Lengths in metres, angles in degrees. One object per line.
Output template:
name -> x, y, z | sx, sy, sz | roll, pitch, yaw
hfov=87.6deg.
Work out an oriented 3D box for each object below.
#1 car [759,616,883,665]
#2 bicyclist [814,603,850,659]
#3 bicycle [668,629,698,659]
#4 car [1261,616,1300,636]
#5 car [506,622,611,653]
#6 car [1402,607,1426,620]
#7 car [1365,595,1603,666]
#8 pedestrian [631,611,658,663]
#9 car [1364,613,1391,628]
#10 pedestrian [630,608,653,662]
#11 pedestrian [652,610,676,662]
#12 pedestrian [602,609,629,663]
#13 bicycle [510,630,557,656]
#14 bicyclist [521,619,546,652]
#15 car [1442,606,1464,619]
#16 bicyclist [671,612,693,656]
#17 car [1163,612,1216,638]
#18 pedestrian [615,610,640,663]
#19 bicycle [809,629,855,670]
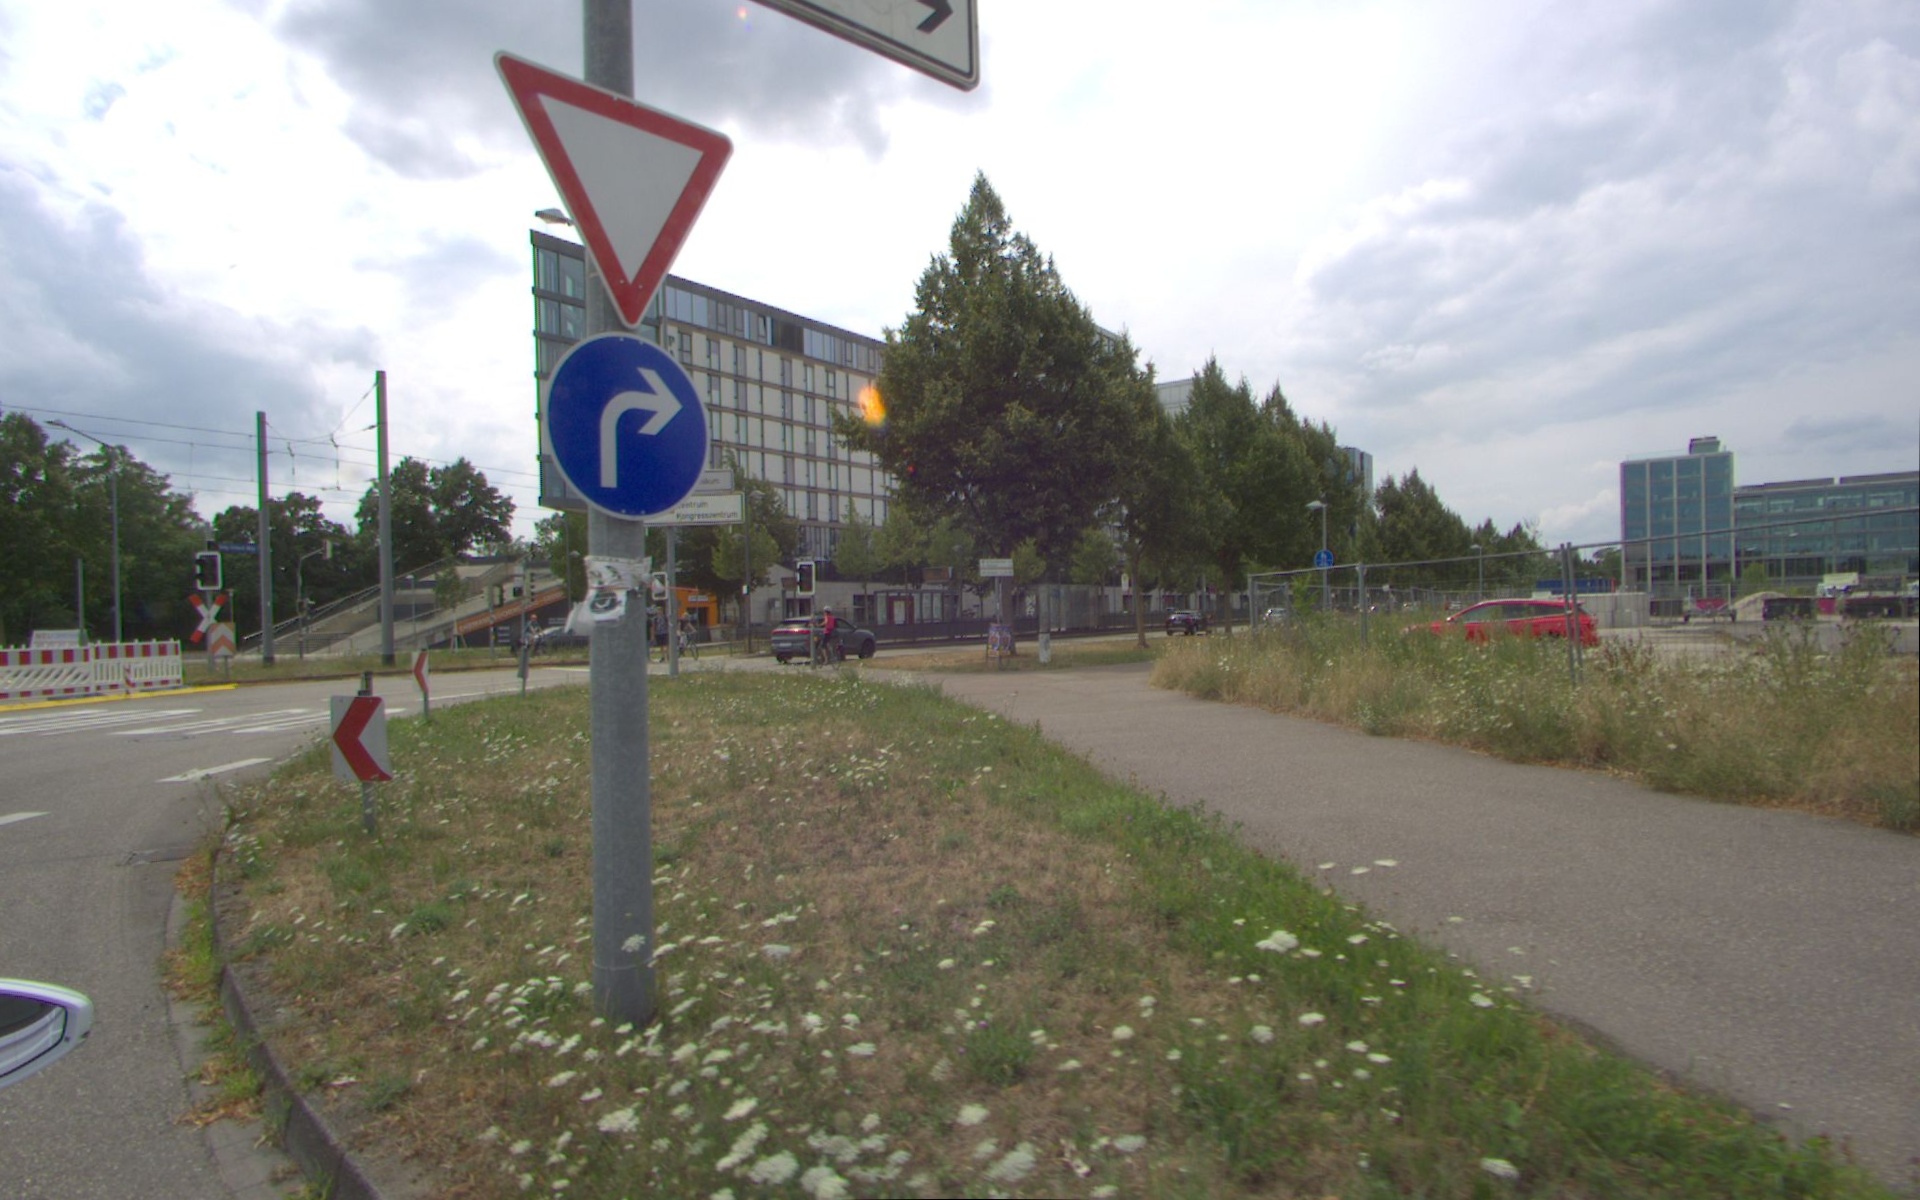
car -> -4.775, 1.357, 35.042 | 2.034, 1.571, 4.454 | -1, -1, 30
bicyclist -> -3.855, 0.915, 30.164 | 0.779, 1.648, 1.045 | -1, 0, -24
bicycle -> -10.250, 1.615, 37.017 | 0.542, 1.072, 1.701 | 0, -1, -36
car -> 24.640, 1.972, 76.947 | 1.805, 1.481, 4.236 | -1, -1, 33
car -> -20.457, 1.868, 51.187 | 1.825, 1.477, 4.706 | -1, -1, 37
car -> 54.867, 1.610, 120.991 | 1.778, 1.516, 4.232 | -1, -1, 36
car -> 12.910, 0.771, 24.890 | 5.063, 1.625, 1.781 | -2, -1, 30
pedestrian -> -10.941, 1.276, 34.710 | 0.545, 1.805, 0.687 | -1, 0, 30
car -> 42.827, 2.062, 102.734 | 1.777, 1.516, 4.093 | -1, -1, 34
pedestrian -> -11.272, 1.221, 35.451 | 0.545, 1.886, 0.529 | -1, 0, 31
pedestrian -> -10.432, 1.267, 35.309 | 0.545, 1.805, 0.578 | -1, 0, 30
pedestrian -> -11.745, 1.215, 34.145 | 0.545, 1.805, 0.687 | -1, 0, 30
bicycle -> -17.091, 1.718, 40.122 | 1.725, 1.020, 0.653 | -1, 0, 19
bicyclist -> -17.090, 1.415, 40.129 | 0.663, 1.334, 0.639 | -1, 0, 17
car -> 68.471, 1.720, 139.084 | 1.974, 1.639, 4.722 | -2, -1, 36
bicyclist -> -10.317, 1.261, 37.087 | 0.553, 1.601, 0.760 | 0, 0, -36
car -> 14.124, 1.507, 61.452 | 1.718, 1.539, 4.121 | -1, -1, 35
pedestrian -> -11.588, 1.259, 34.878 | 0.545, 1.805, 0.630 | -1, 0, 30
bicycle -> -3.898, 1.475, 30.289 | 0.779, 1.183, 2.034 | -1, -1, -25
